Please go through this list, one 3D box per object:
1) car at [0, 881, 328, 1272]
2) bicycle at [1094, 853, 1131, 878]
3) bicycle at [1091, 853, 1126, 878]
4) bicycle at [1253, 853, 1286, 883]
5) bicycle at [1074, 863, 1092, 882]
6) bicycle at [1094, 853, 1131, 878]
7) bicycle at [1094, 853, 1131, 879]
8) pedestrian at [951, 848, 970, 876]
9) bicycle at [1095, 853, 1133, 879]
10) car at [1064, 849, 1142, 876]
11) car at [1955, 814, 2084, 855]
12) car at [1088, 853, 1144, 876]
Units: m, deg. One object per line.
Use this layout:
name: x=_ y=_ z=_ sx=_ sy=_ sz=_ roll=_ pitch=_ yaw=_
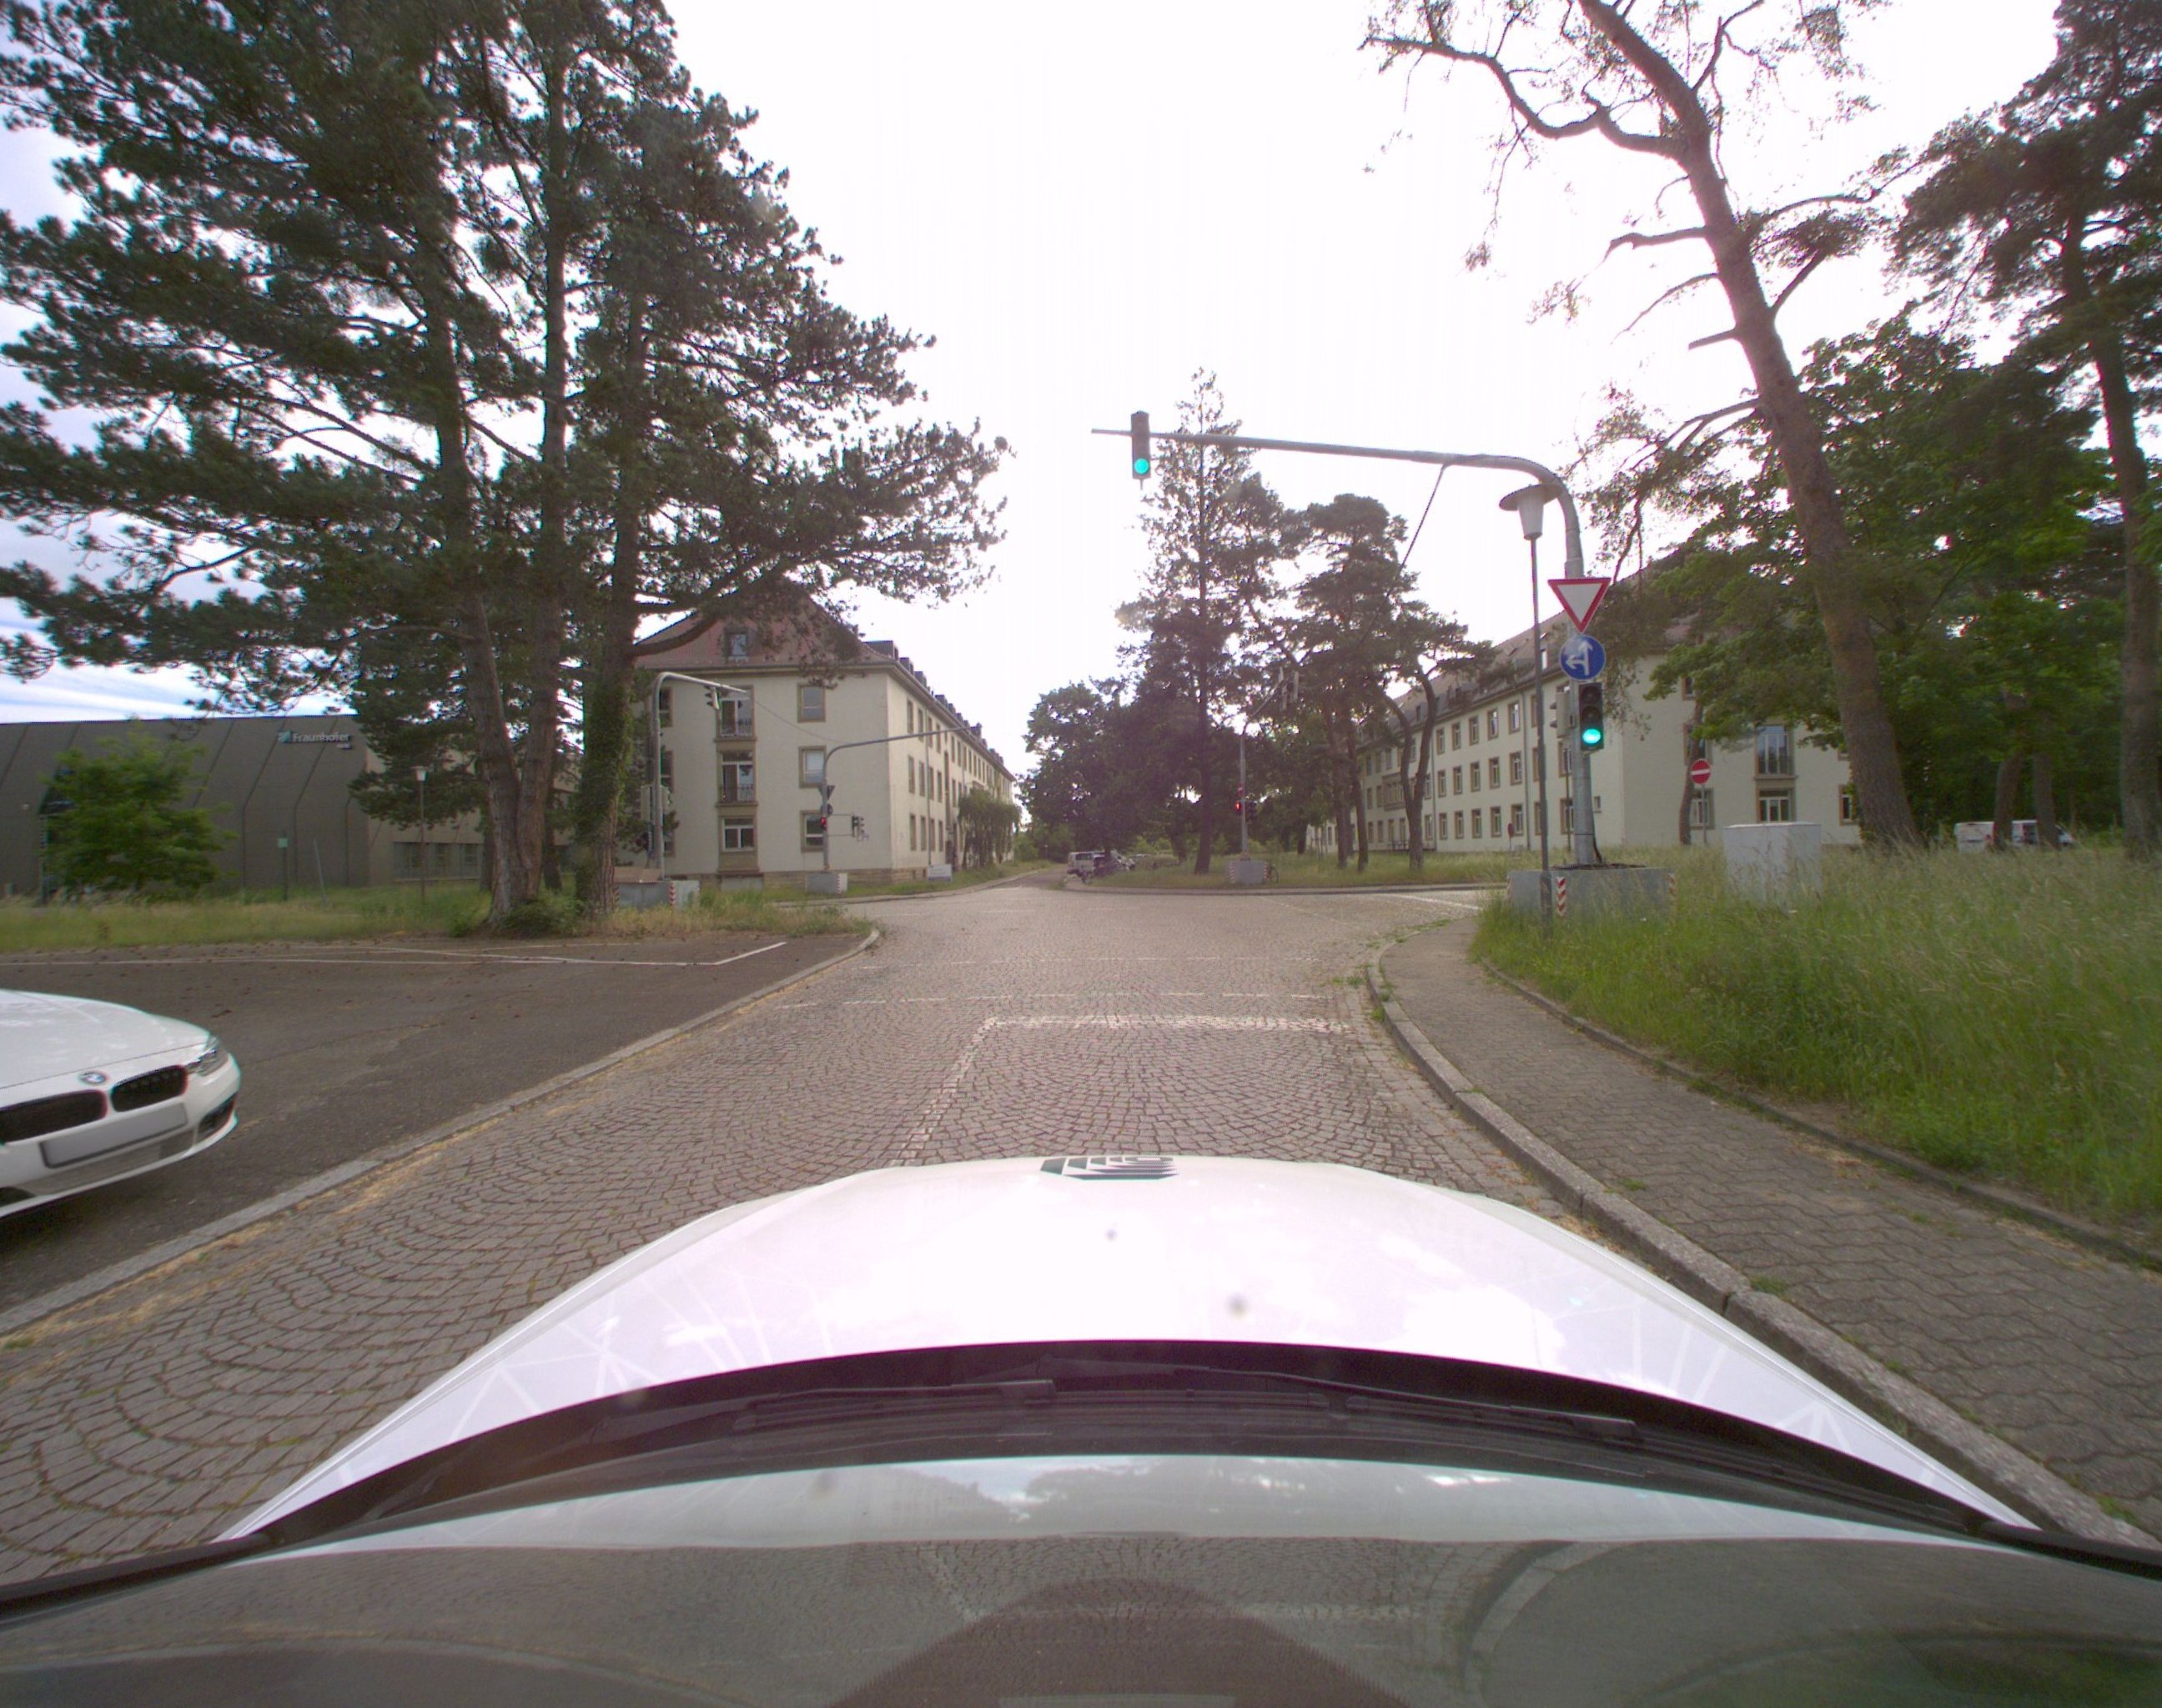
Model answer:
car: x=-6.500 y=0.861 z=3.515 sx=4.636 sy=1.444 sz=1.800 roll=1 pitch=0 yaw=-3
bicycle: x=1.814 y=0.676 z=46.833 sx=2.062 sy=1.378 sz=0.620 roll=-2 pitch=0 yaw=1
bicycle: x=1.628 y=0.687 z=48.431 sx=2.062 sy=1.378 sz=0.620 roll=-2 pitch=0 yaw=1
bicycle: x=7.661 y=0.545 z=33.198 sx=0.905 sy=1.177 sz=1.874 roll=-2 pitch=0 yaw=0
bicycle: x=0.118 y=0.981 z=43.757 sx=0.614 sy=0.963 sz=2.081 roll=-2 pitch=0 yaw=8
bicycle: x=1.838 y=0.683 z=47.630 sx=2.062 sy=1.378 sz=0.620 roll=-2 pitch=0 yaw=1
bicycle: x=1.806 y=0.671 z=46.208 sx=2.062 sy=1.378 sz=0.620 roll=-2 pitch=0 yaw=1
pedestrian: x=-9.046 y=0.592 z=61.163 sx=1.081 sy=2.013 sz=1.023 roll=-2 pitch=0 yaw=6
bicycle: x=1.836 y=0.665 z=45.537 sx=2.062 sy=1.378 sz=0.620 roll=-2 pitch=0 yaw=1
car: x=1.721 y=0.636 z=63.434 sx=5.695 sy=1.910 sz=2.221 roll=-2 pitch=0 yaw=-12
car: x=56.825 y=-1.146 z=49.386 sx=5.160 sy=2.288 sz=2.214 roll=-2 pitch=0 yaw=2
car: x=2.550 y=0.753 z=60.053 sx=3.924 sy=1.544 sz=1.997 roll=-2 pitch=0 yaw=-4
